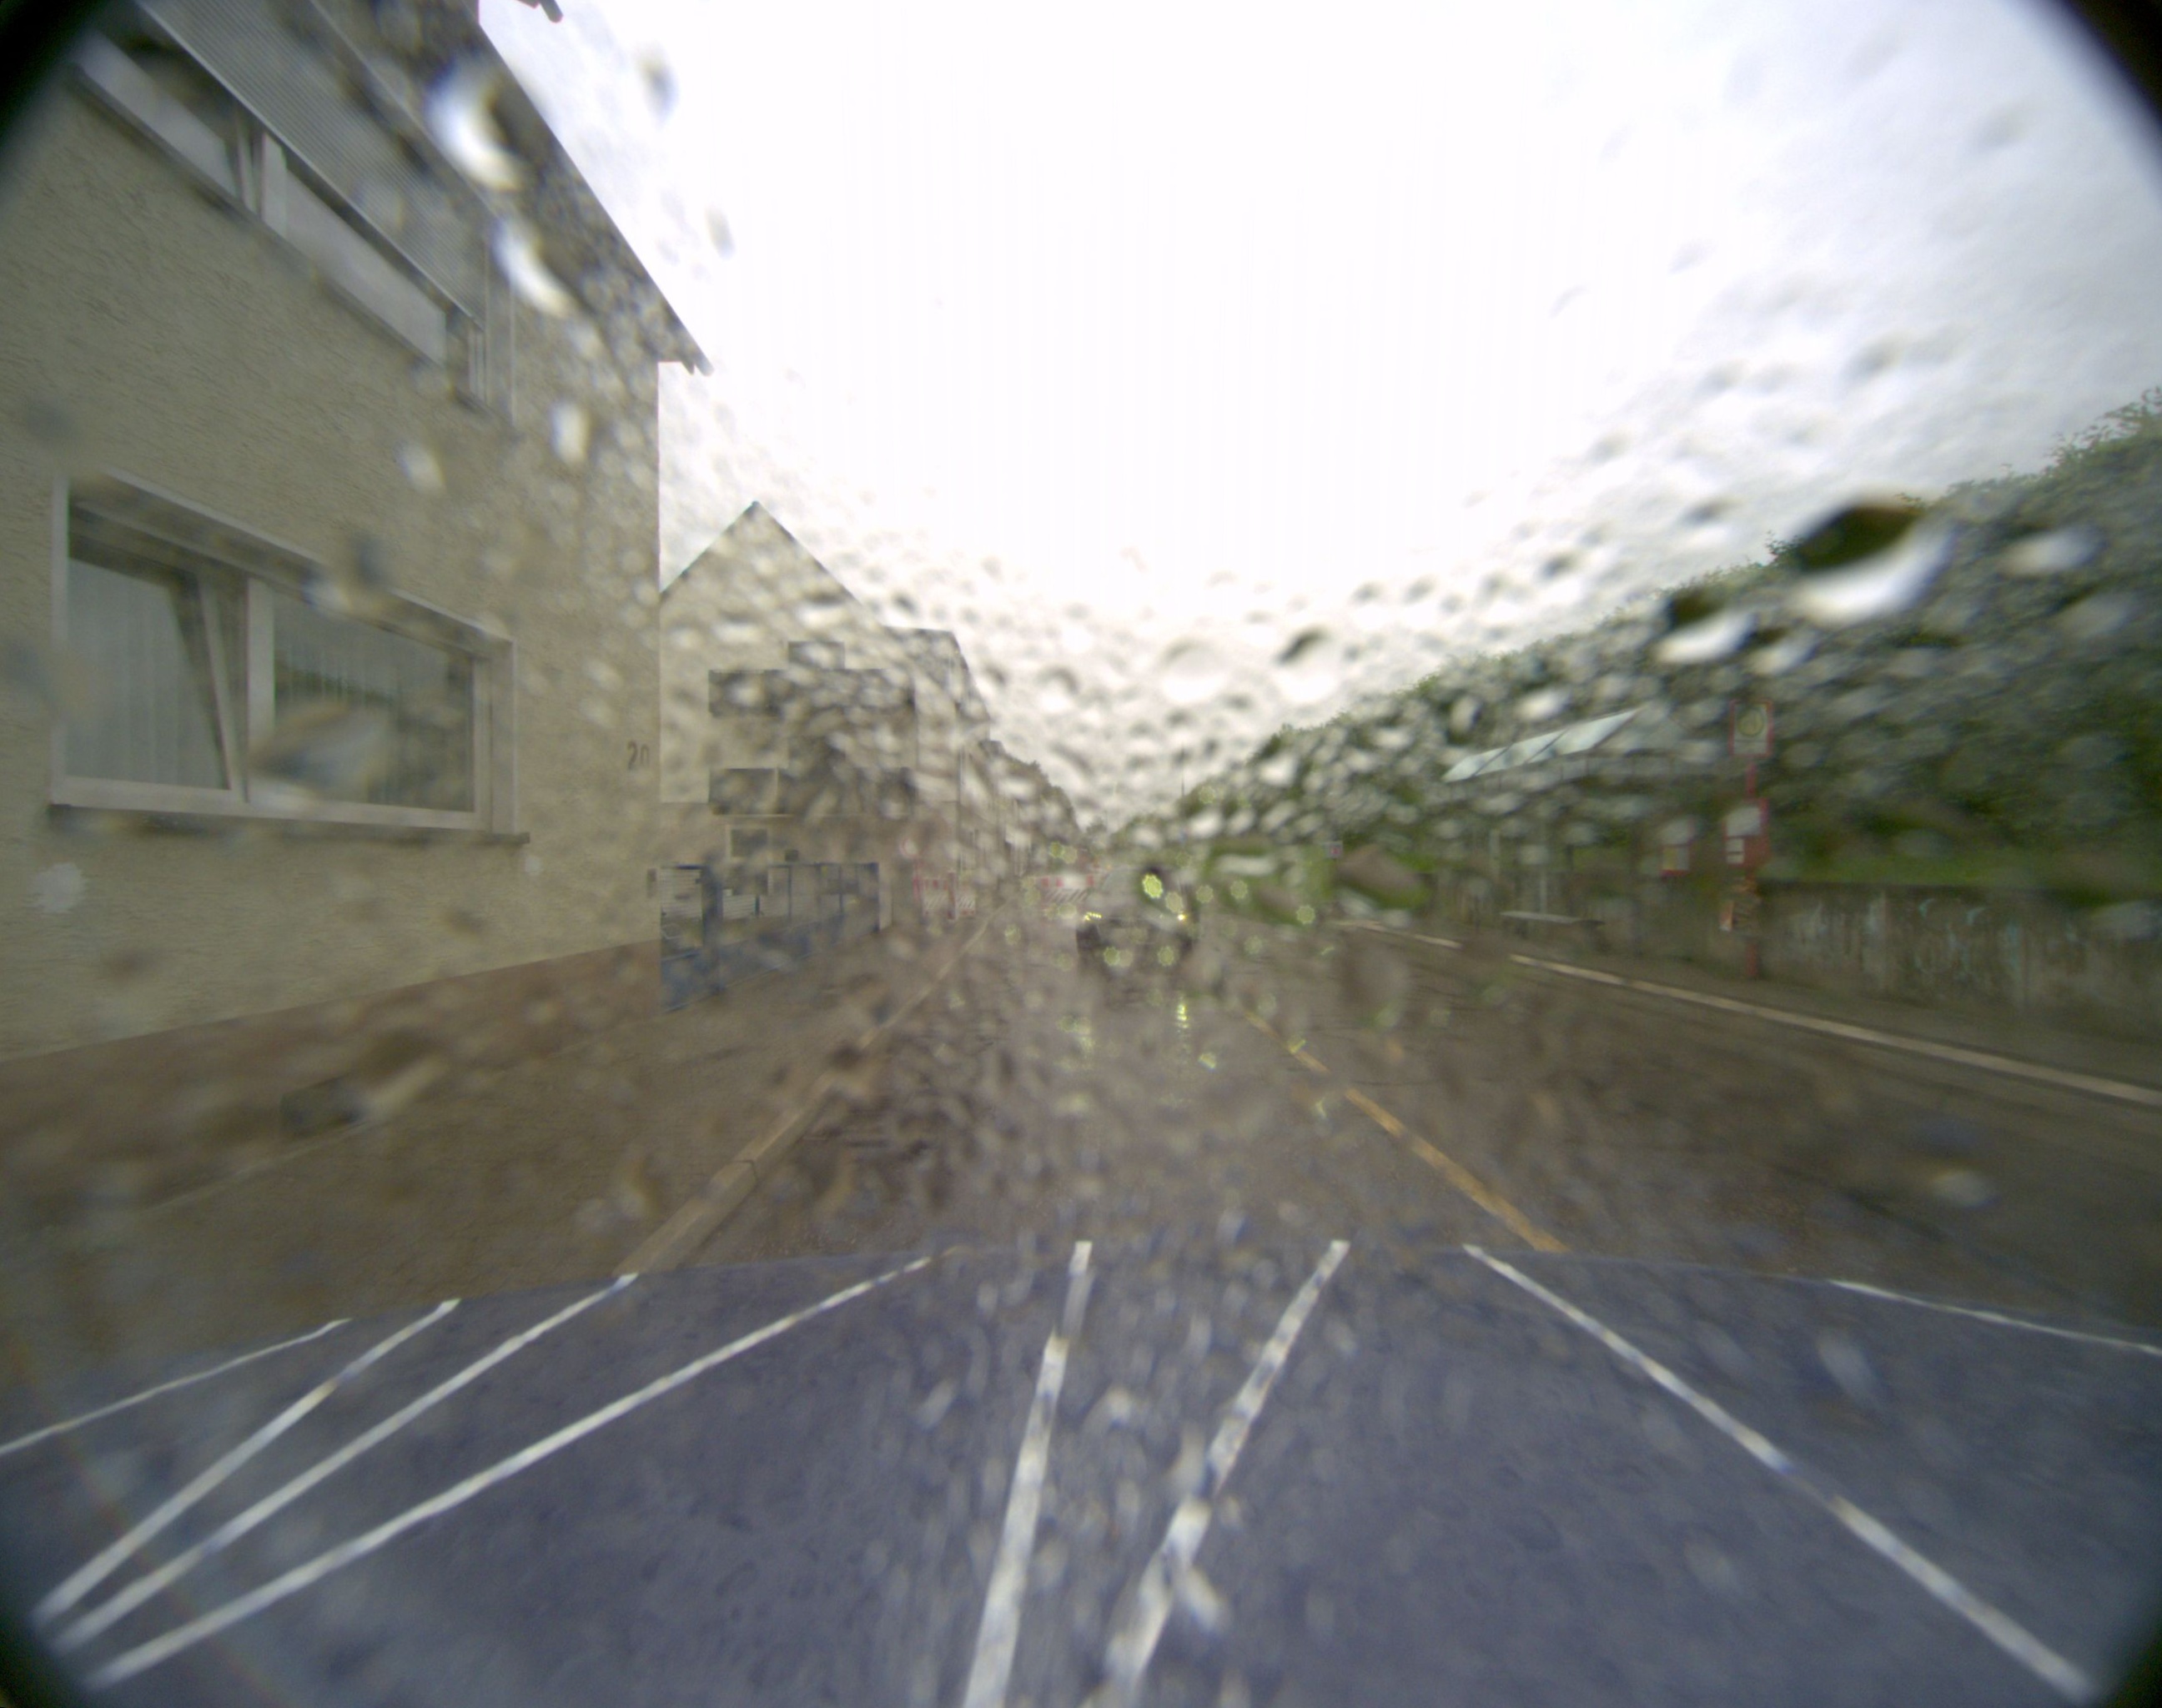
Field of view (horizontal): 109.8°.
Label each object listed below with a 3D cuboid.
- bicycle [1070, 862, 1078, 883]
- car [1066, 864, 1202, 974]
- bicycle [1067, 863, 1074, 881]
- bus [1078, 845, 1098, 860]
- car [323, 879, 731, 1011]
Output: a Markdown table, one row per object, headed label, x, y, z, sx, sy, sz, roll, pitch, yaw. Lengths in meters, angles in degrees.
| label | x | y | z | sx | sy | sz | roll | pitch | yaw |
| --- | --- | --- | --- | --- | --- | --- | --- | --- | --- |
| bicycle | -0.407 | 1.043 | 43.122 | 0.407 | 1.137 | 1.221 | 0 | 1 | 0 |
| car | 1.096 | 0.945 | 13.112 | 1.850 | 1.444 | 4.535 | 1 | 1 | 10 |
| bicycle | -0.643 | 1.074 | 45.443 | 0.407 | 1.023 | 1.221 | 0 | 1 | 0 |
| bus | 1.611 | -0.401 | 157.813 | 2.684 | 2.987 | 14.552 | 1 | 1 | 6 |
| car | -7.441 | 1.181 | 10.591 | 4.155 | 1.294 | 1.912 | -4 | 1 | -2 |
